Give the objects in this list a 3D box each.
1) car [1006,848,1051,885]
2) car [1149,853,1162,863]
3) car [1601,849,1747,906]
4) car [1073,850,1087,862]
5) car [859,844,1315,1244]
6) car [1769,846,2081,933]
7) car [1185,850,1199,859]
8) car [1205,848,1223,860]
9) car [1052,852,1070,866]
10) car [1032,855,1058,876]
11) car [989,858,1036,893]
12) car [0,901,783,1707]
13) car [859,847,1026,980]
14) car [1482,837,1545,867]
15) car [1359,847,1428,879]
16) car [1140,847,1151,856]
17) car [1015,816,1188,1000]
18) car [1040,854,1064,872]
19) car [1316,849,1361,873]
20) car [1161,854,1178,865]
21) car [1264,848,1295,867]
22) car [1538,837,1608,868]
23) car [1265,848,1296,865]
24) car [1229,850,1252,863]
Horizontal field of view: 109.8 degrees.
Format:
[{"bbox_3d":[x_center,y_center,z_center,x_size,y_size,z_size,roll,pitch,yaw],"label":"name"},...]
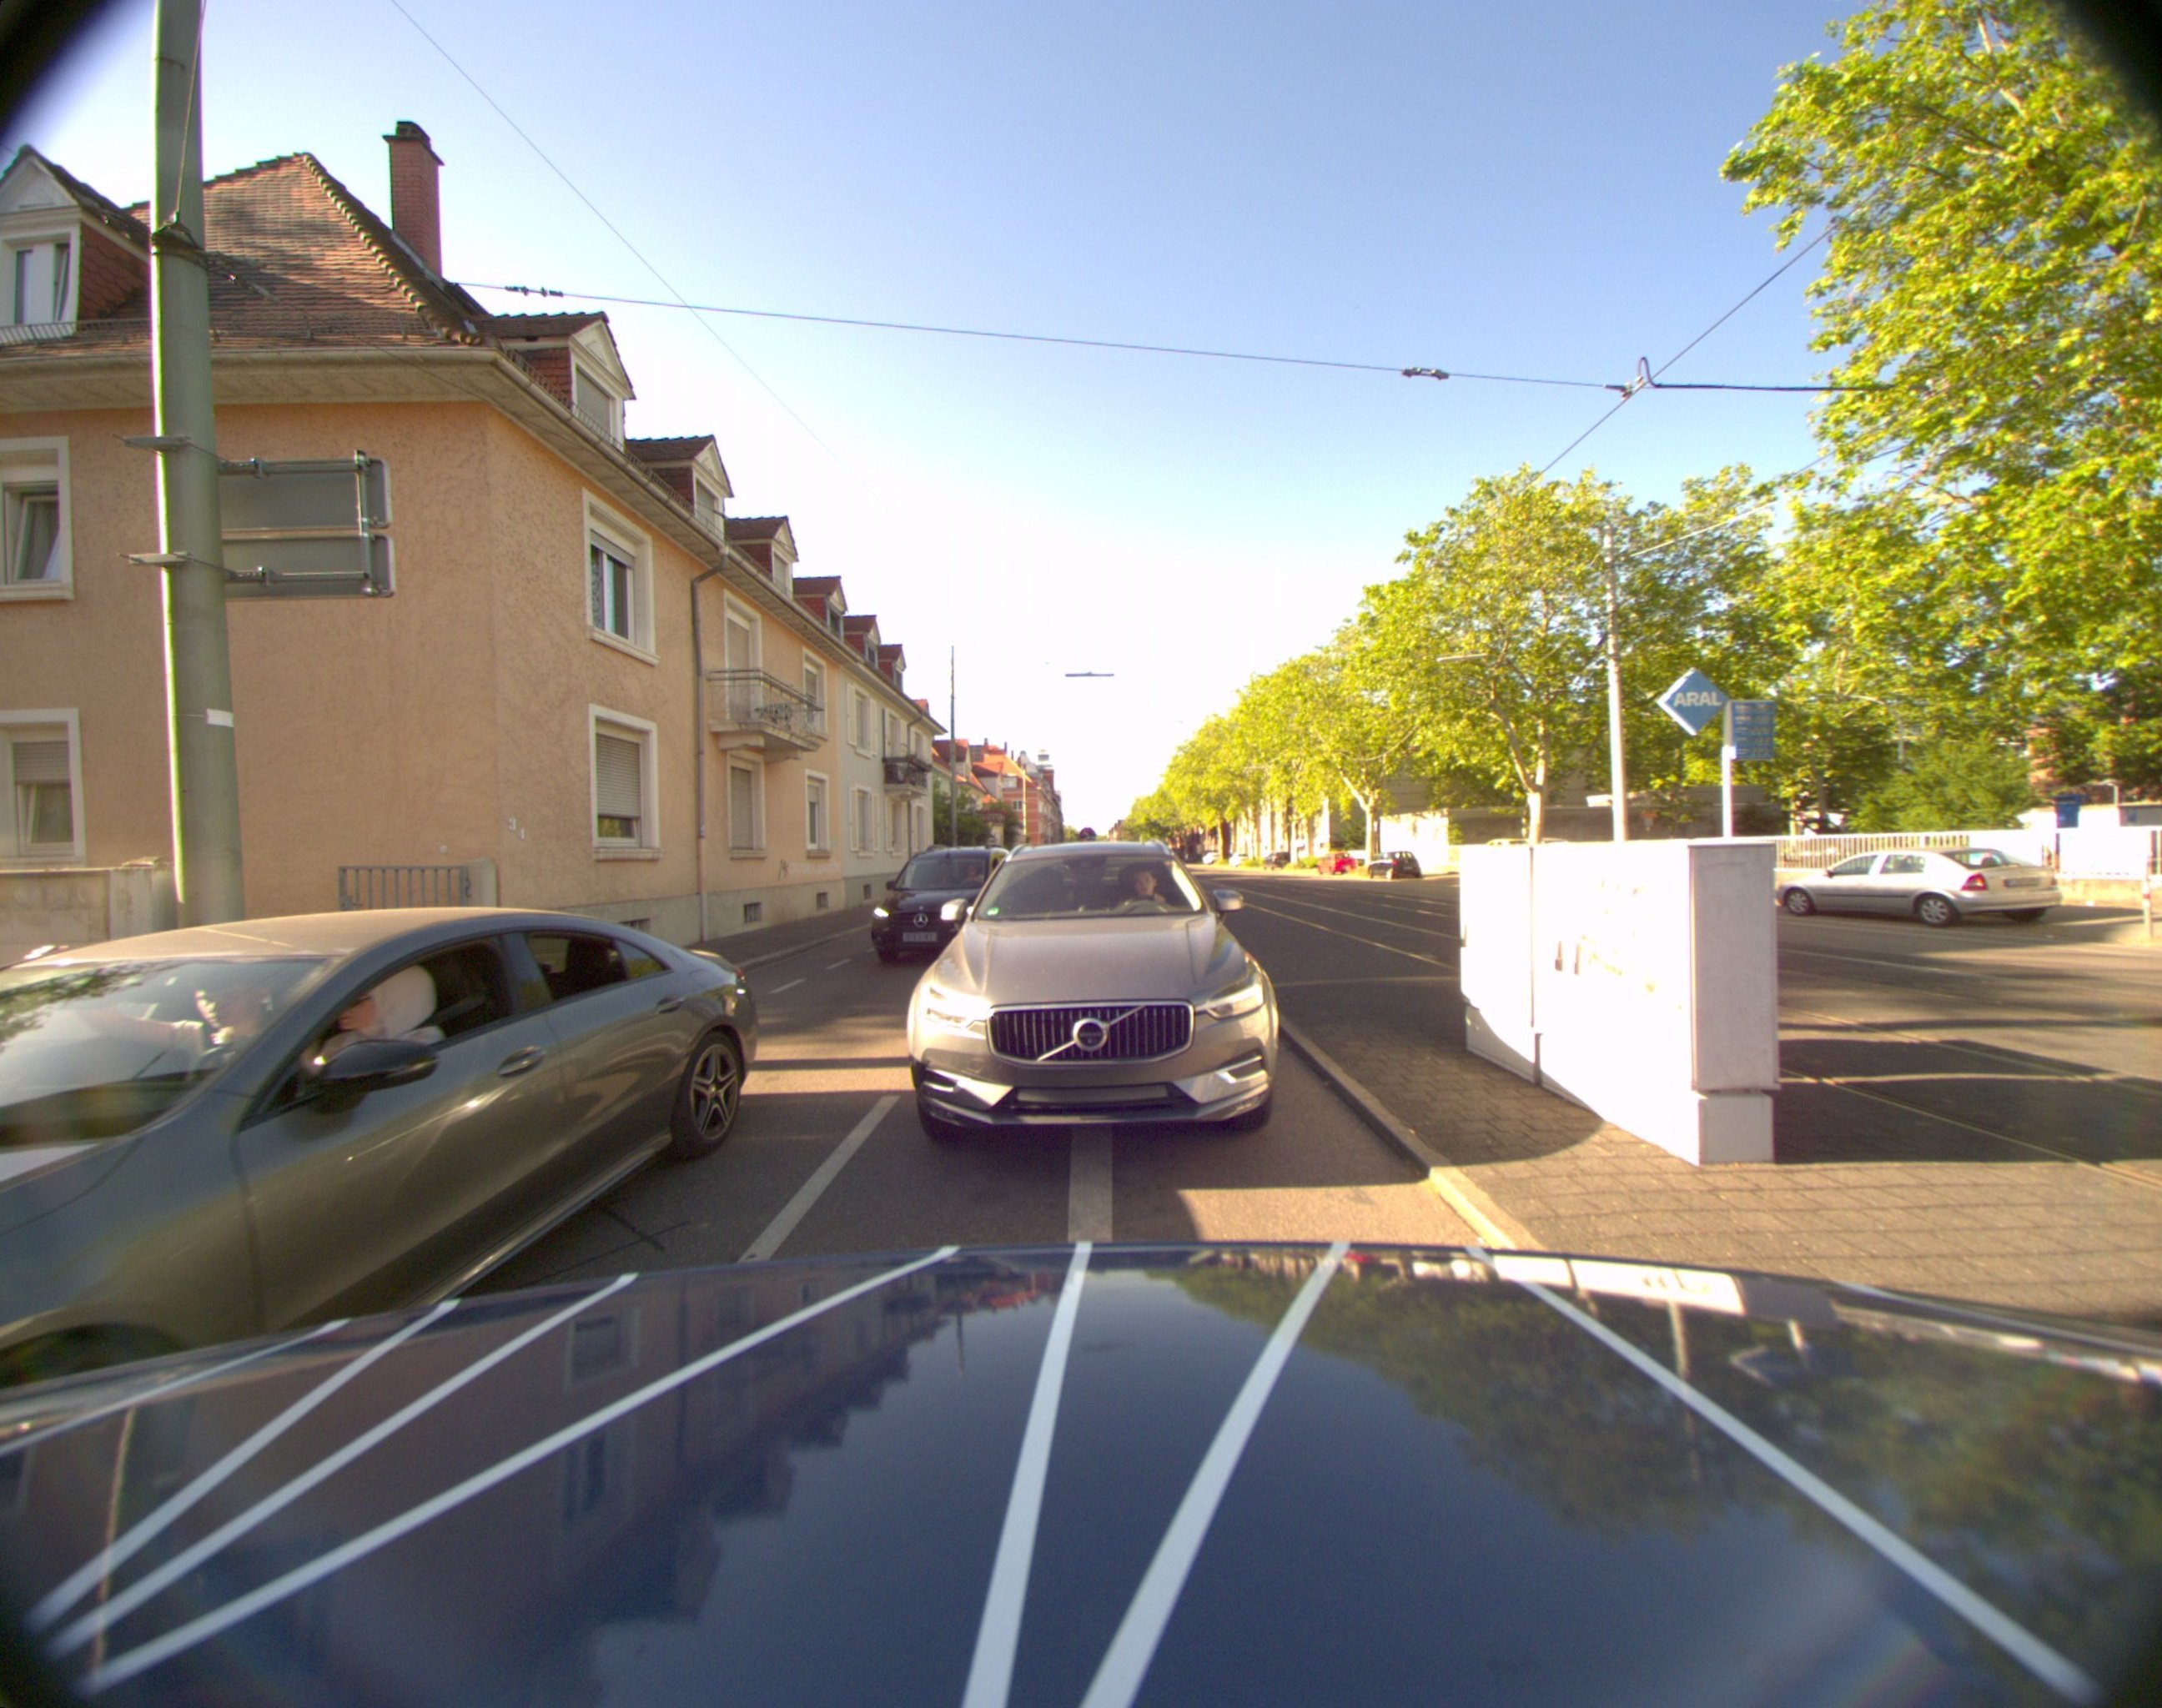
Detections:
[{"bbox_3d":[-2.930,0.628,43.845,1.937,1.888,7.210,-2,1,1],"label":"car"},{"bbox_3d":[13.214,0.728,134.994,1.700,1.412,3.999,10,1,1],"label":"car"},{"bbox_3d":[16.412,0.602,21.220,1.546,1.412,3.254,-2,1,1],"label":"car"},{"bbox_3d":[-0.163,0.260,106.482,1.841,1.449,3.999,-2,1,1],"label":"car"},{"bbox_3d":[0.036,0.798,5.670,1.912,1.666,4.763,-2,1,0],"label":"car"},{"bbox_3d":[16.210,0.585,14.964,1.731,1.412,3.999,-2,1,1],"label":"car"},{"bbox_3d":[18.327,0.009,125.554,1.700,1.401,3.999,-1,1,1],"label":"car"},{"bbox_3d":[17.660,-0.004,100.777,1.700,1.548,3.999,-1,1,1],"label":"car"},{"bbox_3d":[-2.186,0.575,85.429,1.841,1.449,3.999,-2,1,1],"label":"car"},{"bbox_3d":[-2.829,0.880,60.583,1.841,1.449,3.999,-2,1,1],"label":"car"},{"bbox_3d":[-3.239,0.988,36.621,1.841,1.449,3.999,-2,1,1],"label":"car"},{"bbox_3d":[-2.948,1.066,2.589,1.911,1.411,4.492,-2,1,2],"label":"car"},{"bbox_3d":[-2.119,0.823,13.088,1.866,1.794,4.778,-2,1,1],"label":"car"},{"bbox_3d":[21.715,-0.118,38.285,1.545,1.412,3.151,-2,1,4],"label":"car"},{"bbox_3d":[16.868,0.437,41.206,1.753,1.514,4.434,-5,1,-1],"label":"car"},{"bbox_3d":[14.001,-0.570,164.897,1.850,1.835,4.394,-1,1,-1],"label":"car"},{"bbox_3d":[0.238,0.595,11.116,1.912,2.048,4.763,-2,1,0],"label":"car"},{"bbox_3d":[-2.533,0.796,66.992,1.841,1.449,3.999,-2,1,1],"label":"car"},{"bbox_3d":[17.008,0.448,50.401,1.700,1.460,3.999,-1,1,1],"label":"car"},{"bbox_3d":[12.970,0.749,111.373,1.912,1.514,4.763,0,1,0],"label":"car"},{"bbox_3d":[17.165,0.312,65.988,1.700,1.566,3.999,-1,1,1],"label":"car"},{"bbox_3d":[24.272,-0.078,37.597,1.545,1.412,3.151,-2,1,4],"label":"car"},{"bbox_3d":[17.283,0.219,65.908,1.700,1.401,3.999,-1,1,1],"label":"car"},{"bbox_3d":[17.513,0.240,83.516,1.700,1.401,3.999,-1,1,1],"label":"car"}]
